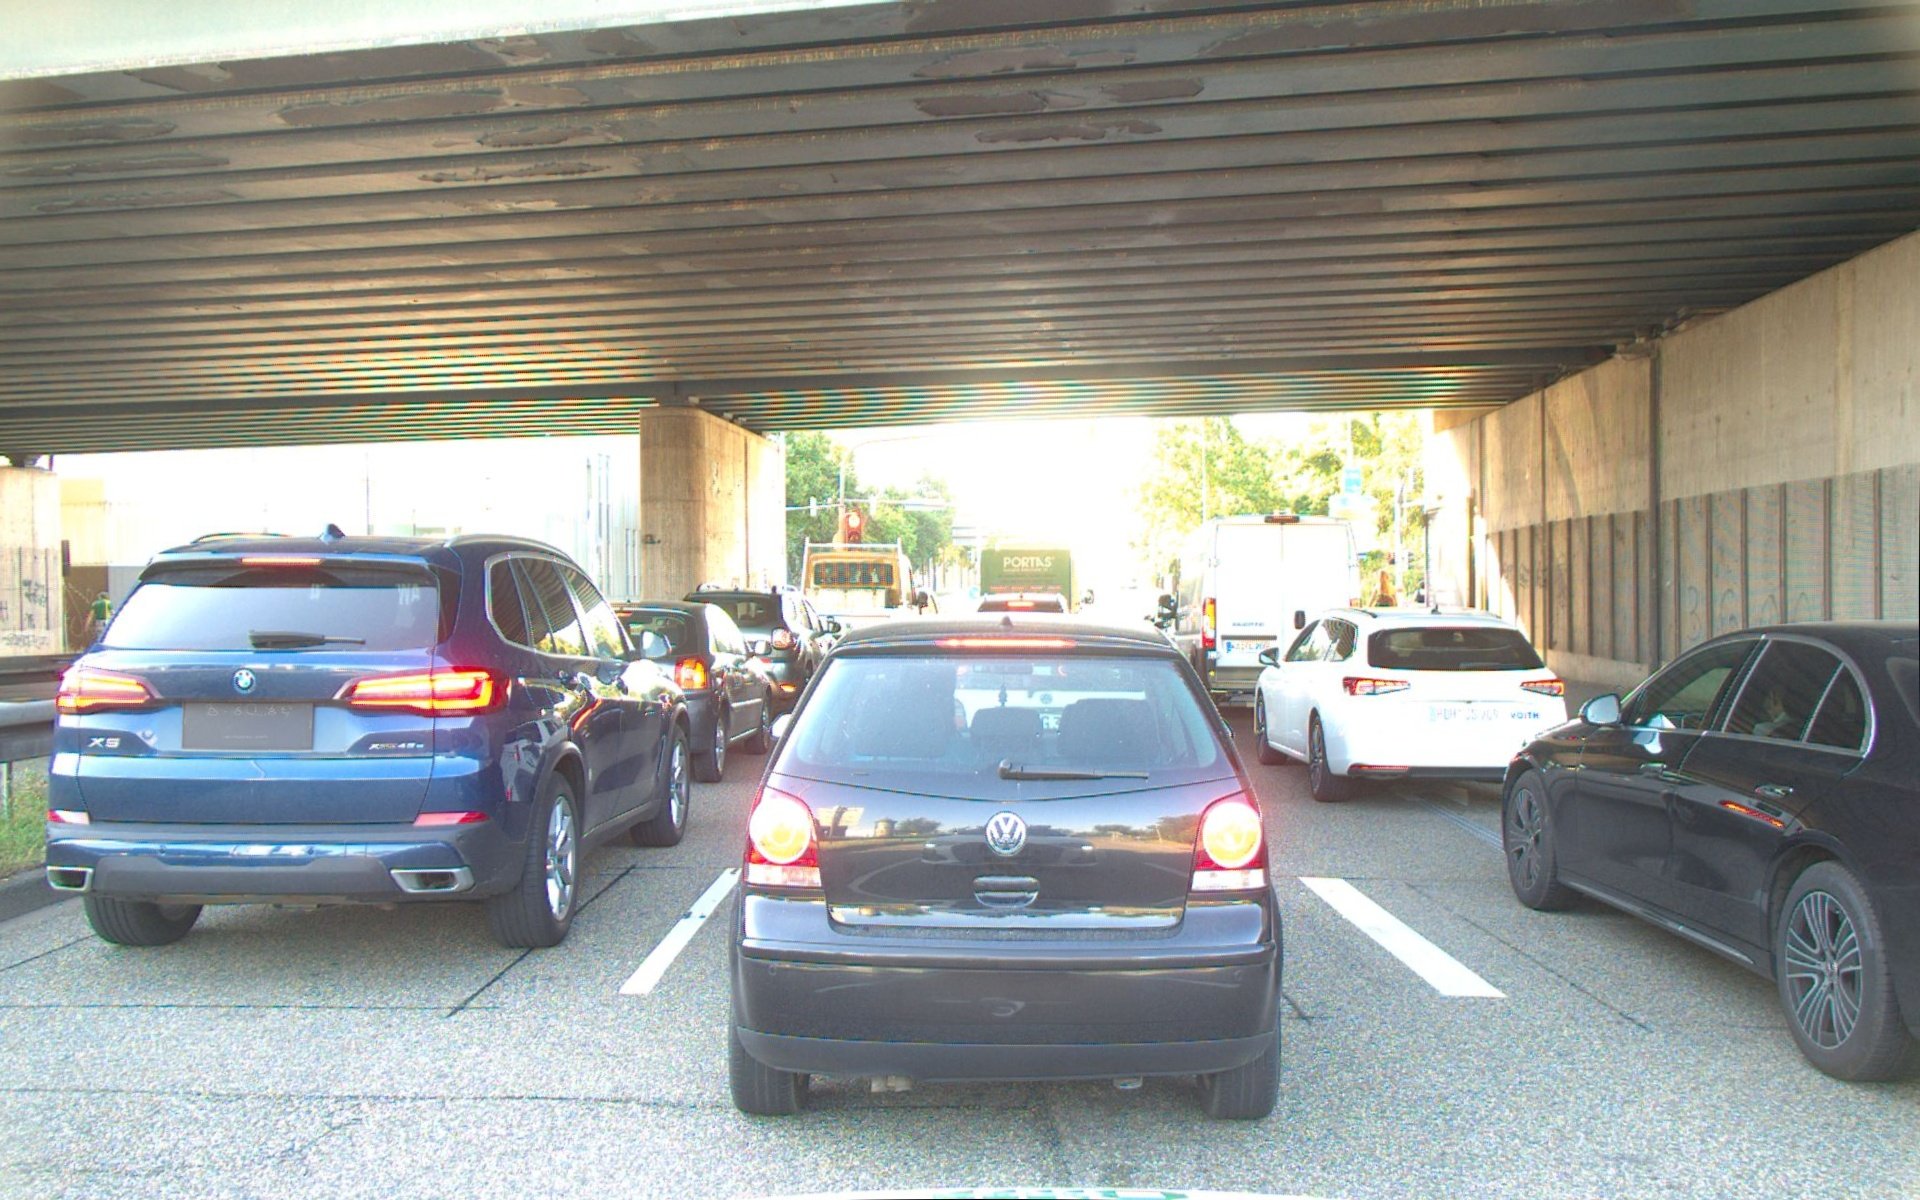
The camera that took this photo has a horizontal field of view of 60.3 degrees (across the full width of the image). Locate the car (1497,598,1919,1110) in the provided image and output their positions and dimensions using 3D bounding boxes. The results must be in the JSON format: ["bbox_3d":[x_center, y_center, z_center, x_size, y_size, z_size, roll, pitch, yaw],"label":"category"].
[{"bbox_3d":[3.724,0.766,6.522,1.705,1.480,4.606,0,1,0],"label":"car"}]

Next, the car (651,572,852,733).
[{"bbox_3d":[-2.527,0.623,20.996,1.803,1.749,4.001,-3,-1,2],"label":"car"}]

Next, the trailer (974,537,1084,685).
[{"bbox_3d":[1.323,0.219,30.484,1.825,2.508,3.833,-2,-1,4],"label":"trailer"}]

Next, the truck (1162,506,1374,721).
[{"bbox_3d":[4.033,0.189,22.441,2.068,2.564,4.401,-2,-1,1],"label":"truck"}]

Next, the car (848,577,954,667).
[{"bbox_3d":[-1.277,0.506,37.507,1.951,1.934,4.002,0,-1,4],"label":"car"}]

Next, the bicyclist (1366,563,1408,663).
[{"bbox_3d":[8.388,0.254,32.528,0.667,1.940,0.834,0,-1,6],"label":"bicyclist"}]

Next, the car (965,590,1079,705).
[{"bbox_3d":[0.926,0.678,24.514,1.549,1.559,3.833,0,-1,2],"label":"car"}]

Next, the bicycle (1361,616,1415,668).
[{"bbox_3d":[8.426,0.815,32.638,0.566,0.980,2.888,-1,-1,6],"label":"bicycle"}]

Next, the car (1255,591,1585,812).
[{"bbox_3d":[3.592,0.748,13.619,1.735,1.521,3.832,-2,-1,2],"label":"car"}]

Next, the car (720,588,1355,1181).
[{"bbox_3d":[0.146,0.724,5.956,1.550,1.433,3.830,0,-1,-2],"label":"car"}]

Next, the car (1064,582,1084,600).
[{"bbox_3d":[9.349,-0.712,135.628,1.312,1.304,2.892,-3,-1,-2],"label":"car"}]

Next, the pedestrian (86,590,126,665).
[{"bbox_3d":[-22.232,0.722,43.058,0.679,1.937,0.665,0,-1,4],"label":"pedestrian"}]

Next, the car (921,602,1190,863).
[{"bbox_3d":[0.591,0.767,11.267,1.515,1.448,3.418,2,0,1],"label":"car"}]

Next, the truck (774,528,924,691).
[{"bbox_3d":[-1.833,0.190,29.113,1.985,2.601,5.539,0,-1,3],"label":"truck"}]

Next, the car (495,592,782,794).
[{"bbox_3d":[-2.709,0.749,14.774,1.804,1.465,3.674,-3,-1,-1],"label":"car"}]

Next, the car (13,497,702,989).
[{"bbox_3d":[-2.545,0.552,8.254,1.792,1.769,4.461,-1,-1,0],"label":"car"}]

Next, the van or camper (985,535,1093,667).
[{"bbox_3d":[1.804,0.058,35.769,1.951,2.616,5.921,0,-1,6],"label":"van or camper"}]
